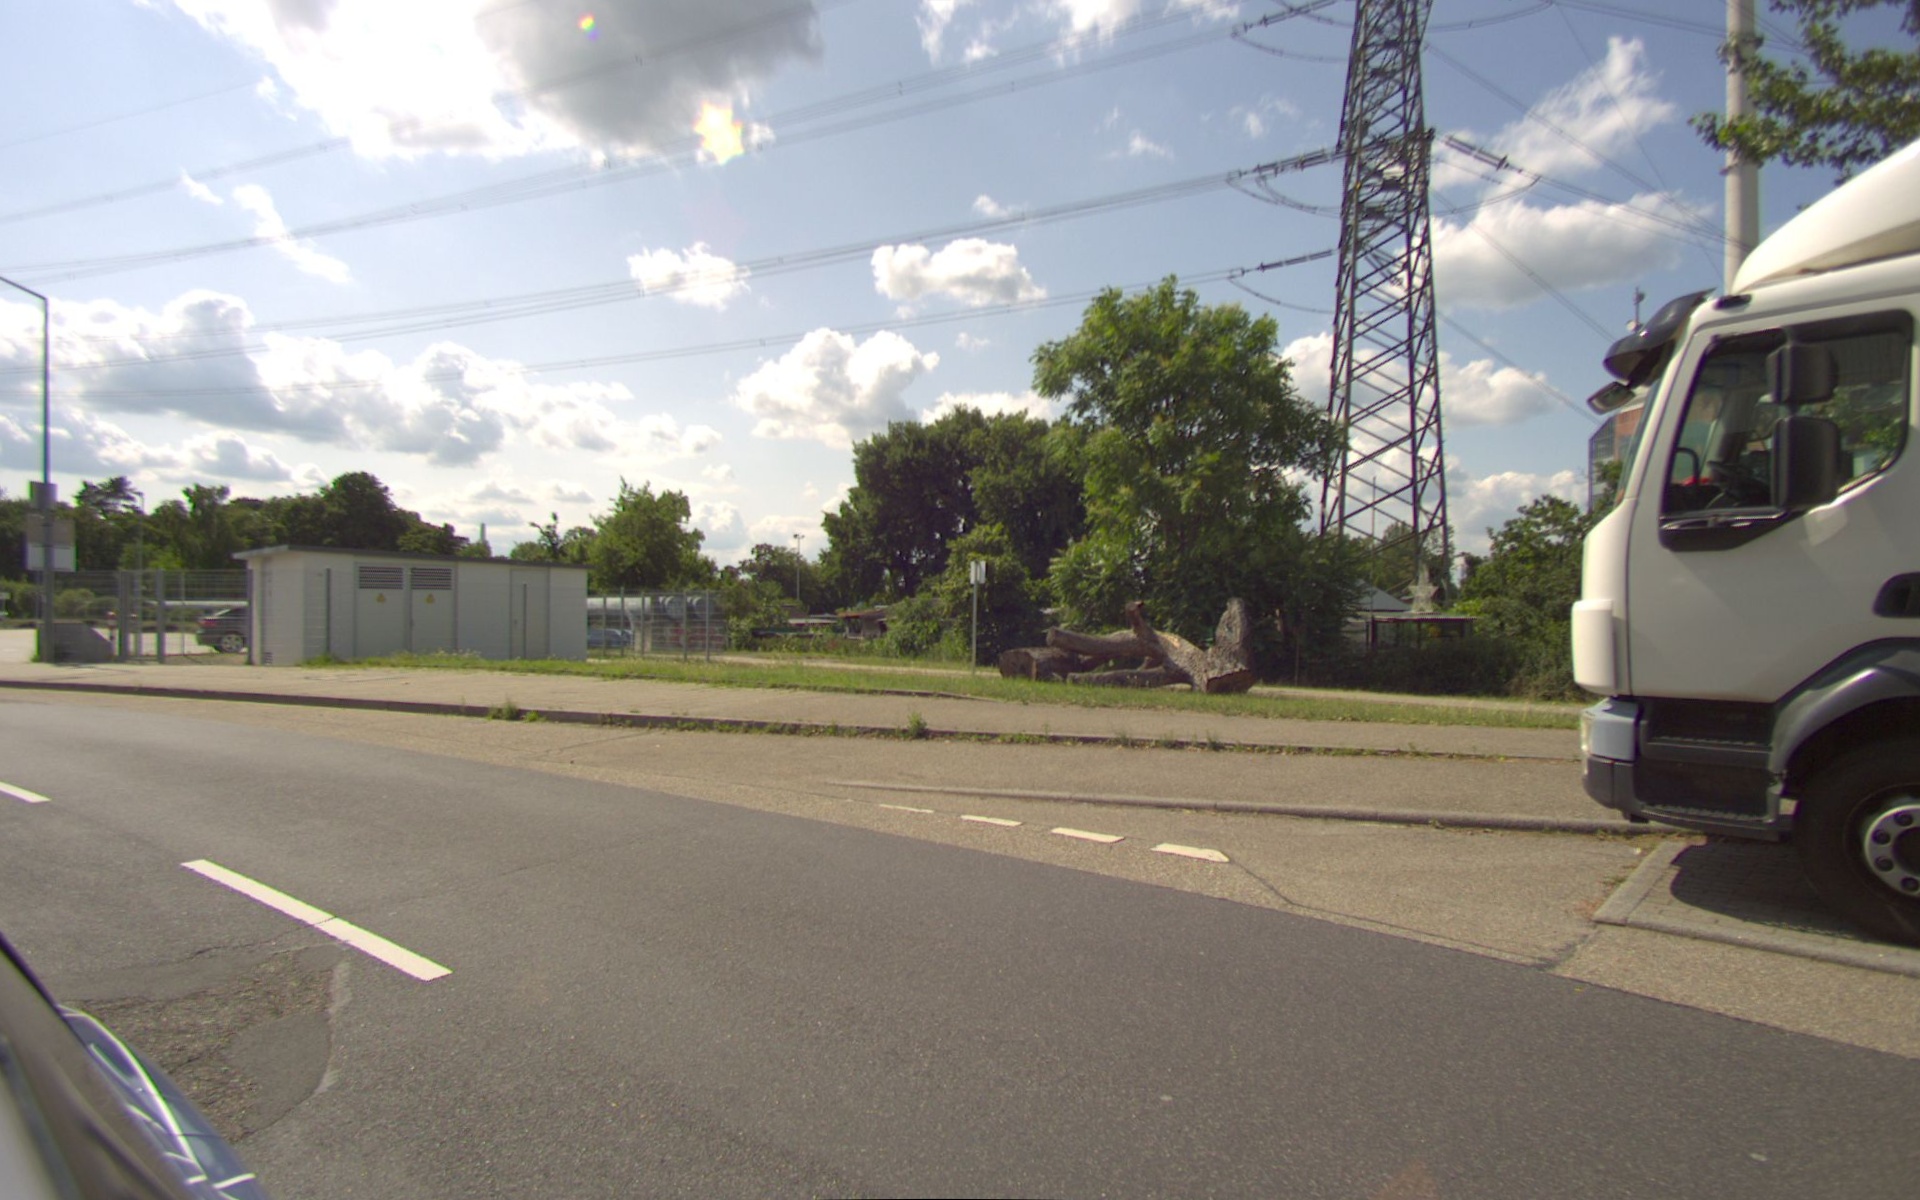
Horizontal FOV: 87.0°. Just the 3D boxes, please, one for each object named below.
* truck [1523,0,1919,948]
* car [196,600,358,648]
[{"bbox_3d":[6.680,-0.597,2.060,9.371,3.594,2.295,-1,1,45],"label":"truck"},{"bbox_3d":[-20.823,0.693,30.931,3.938,1.388,1.806,0,0,-41],"label":"car"}]
